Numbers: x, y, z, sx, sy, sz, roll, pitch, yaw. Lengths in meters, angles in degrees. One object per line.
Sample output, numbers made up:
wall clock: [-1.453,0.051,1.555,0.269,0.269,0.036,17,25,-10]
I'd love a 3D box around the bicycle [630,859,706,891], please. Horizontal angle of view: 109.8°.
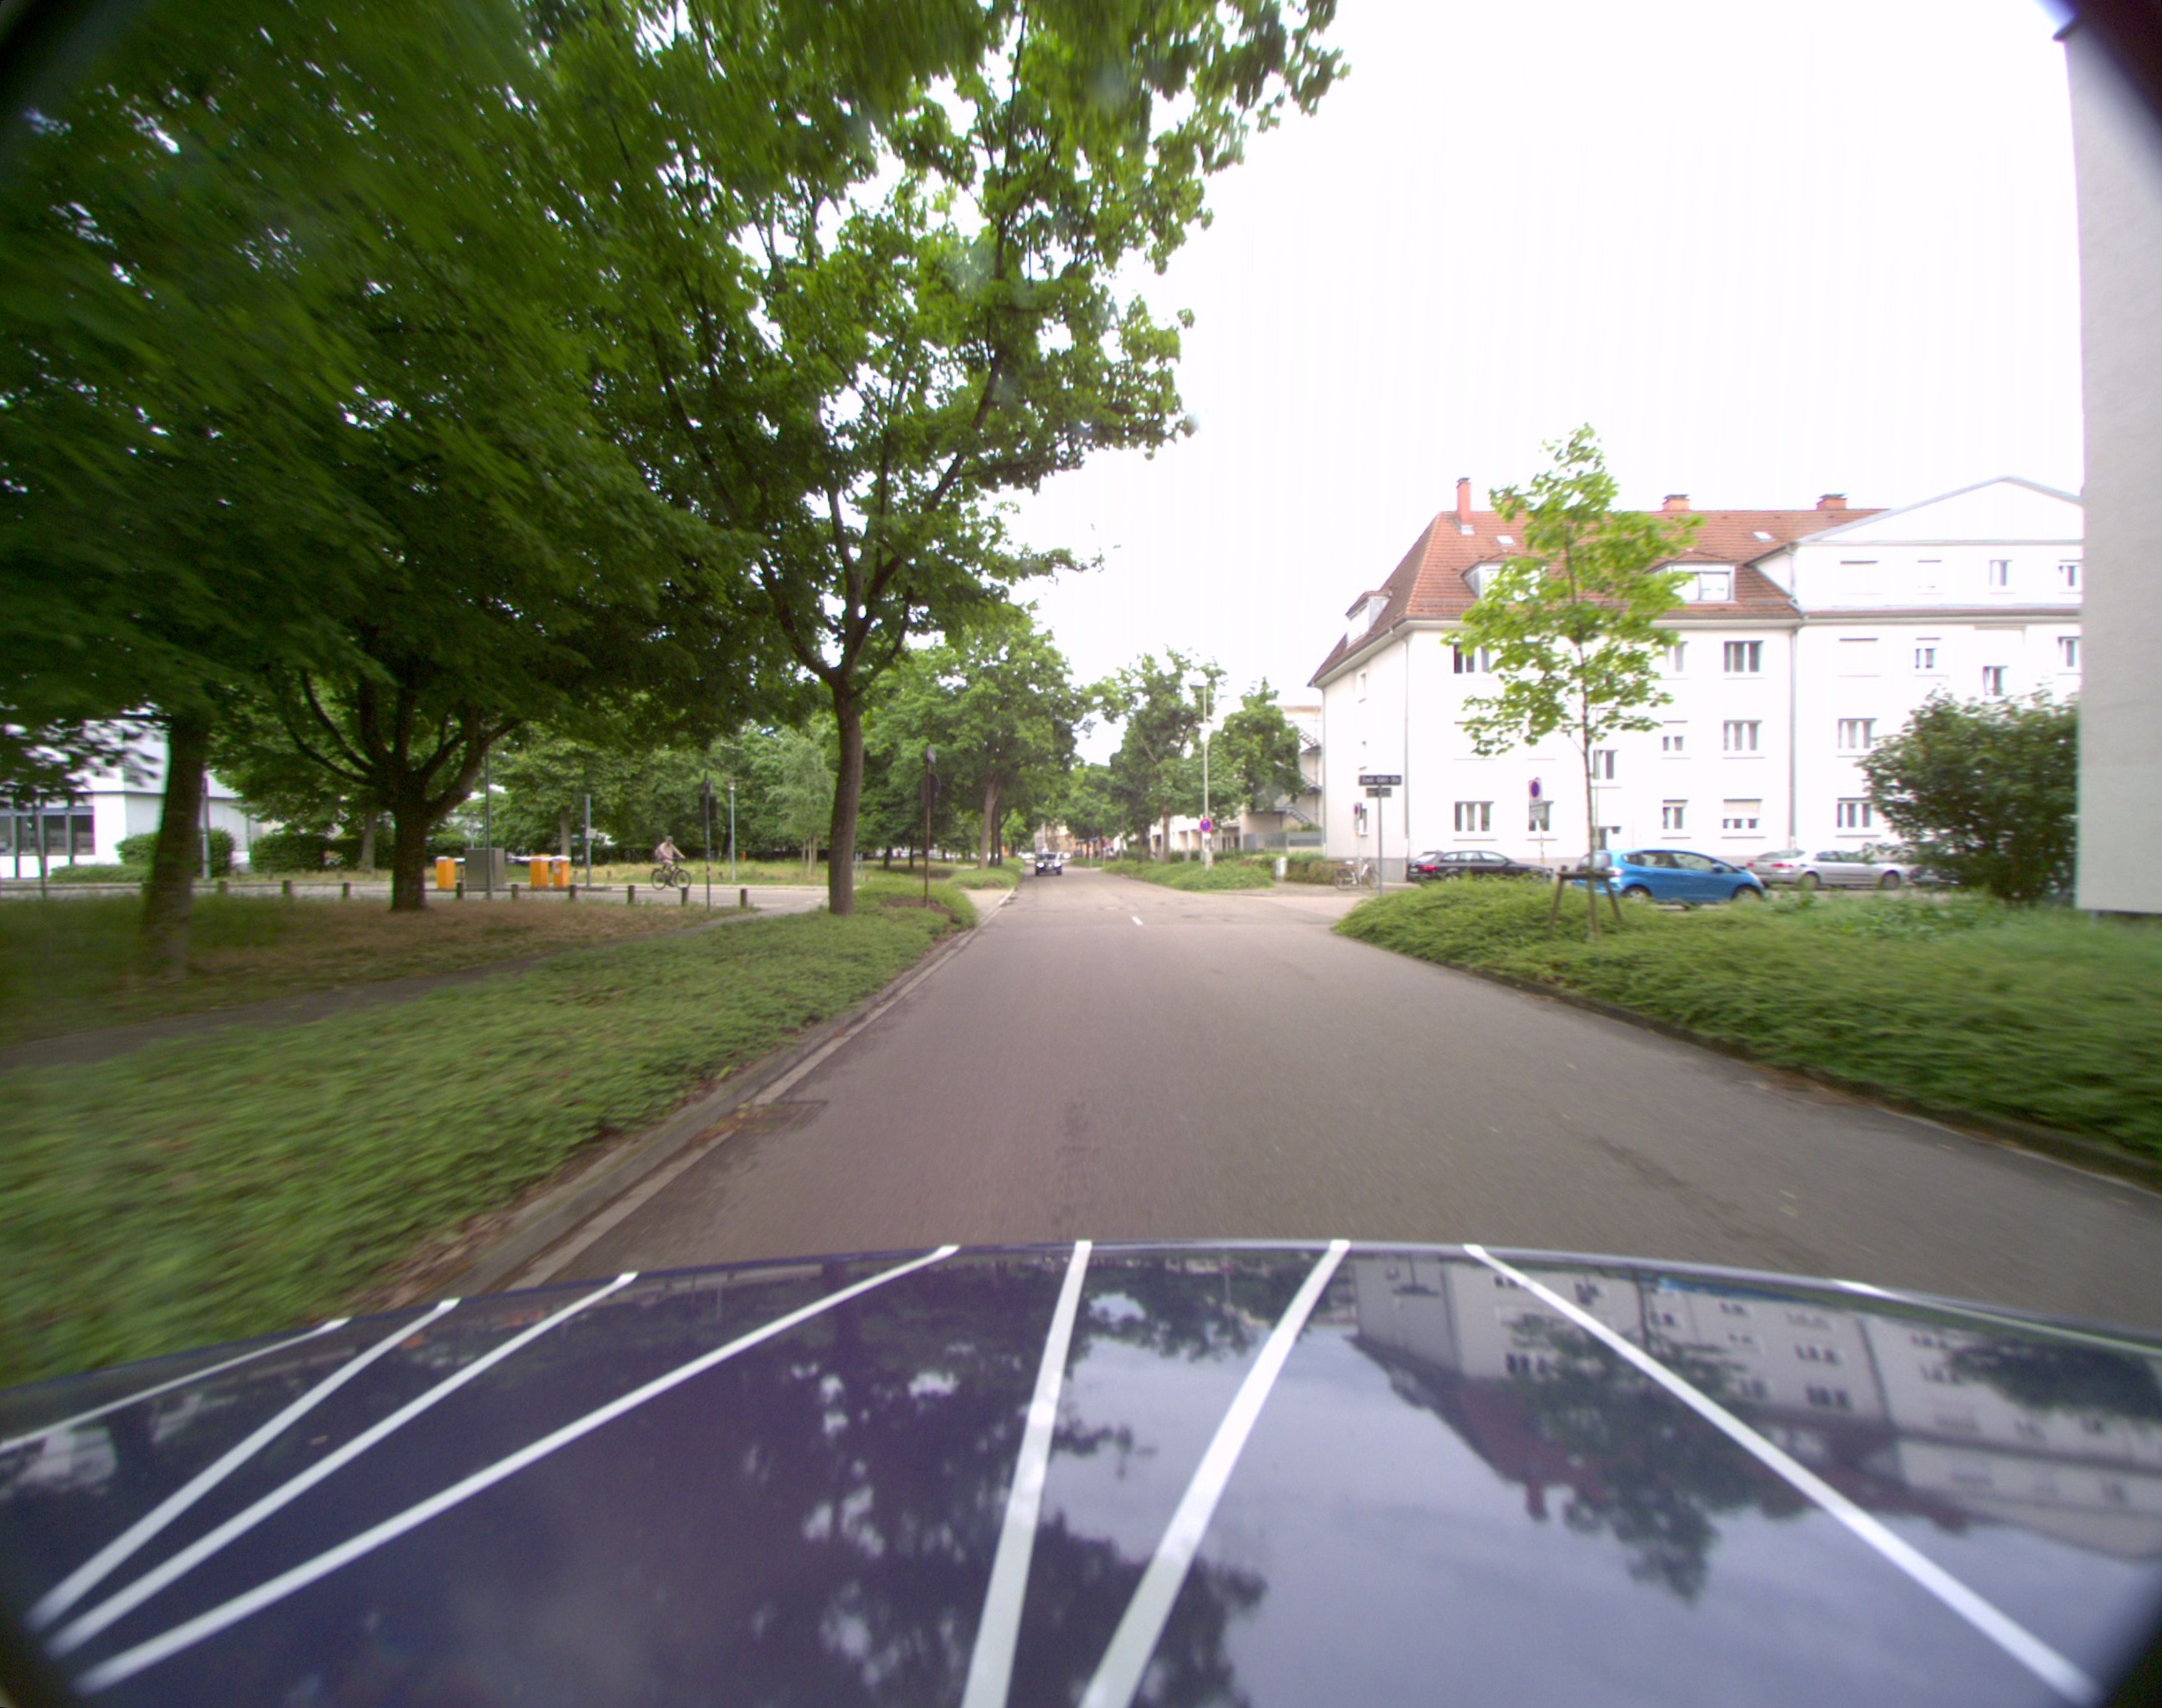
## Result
bicycle: [-14.191,0.713,26.139,2.140,1.068,0.869,0,1,0]

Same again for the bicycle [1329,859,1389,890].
bicycle: [9.923,0.743,27.147,1.887,0.998,0.569,-2,3,-1]

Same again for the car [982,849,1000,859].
car: [-17.245,0.042,145.657,3.315,1.913,1.809,-2,0,-12]

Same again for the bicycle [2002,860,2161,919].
bicycle: [18.729,0.656,14.243,2.120,1.062,0.659,0,1,-1]

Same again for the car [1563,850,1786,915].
car: [13.954,0.667,18.021,3.954,1.453,1.736,0,-2,-1]

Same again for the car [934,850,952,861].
car: [-26.190,0.276,144.198,3.315,1.913,1.809,-2,0,-12]

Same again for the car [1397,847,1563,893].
car: [13.501,0.525,25.900,4.723,1.454,1.865,0,2,-3]

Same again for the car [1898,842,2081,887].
car: [31.174,0.335,26.160,4.320,1.454,1.787,0,1,-3]

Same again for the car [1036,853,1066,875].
car: [-2.102,0.681,55.127,1.999,1.477,4.539,0,1,0]

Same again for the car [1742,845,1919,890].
car: [25.358,0.425,25.793,4.428,1.454,1.737,0,1,-3]

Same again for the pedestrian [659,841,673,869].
pedestrian: [-26.160,0.070,47.865,0.543,1.787,0.573,0,1,9]

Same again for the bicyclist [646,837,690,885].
bicyclist: [-14.167,0.229,26.105,0.922,1.635,1.020,0,1,0]
